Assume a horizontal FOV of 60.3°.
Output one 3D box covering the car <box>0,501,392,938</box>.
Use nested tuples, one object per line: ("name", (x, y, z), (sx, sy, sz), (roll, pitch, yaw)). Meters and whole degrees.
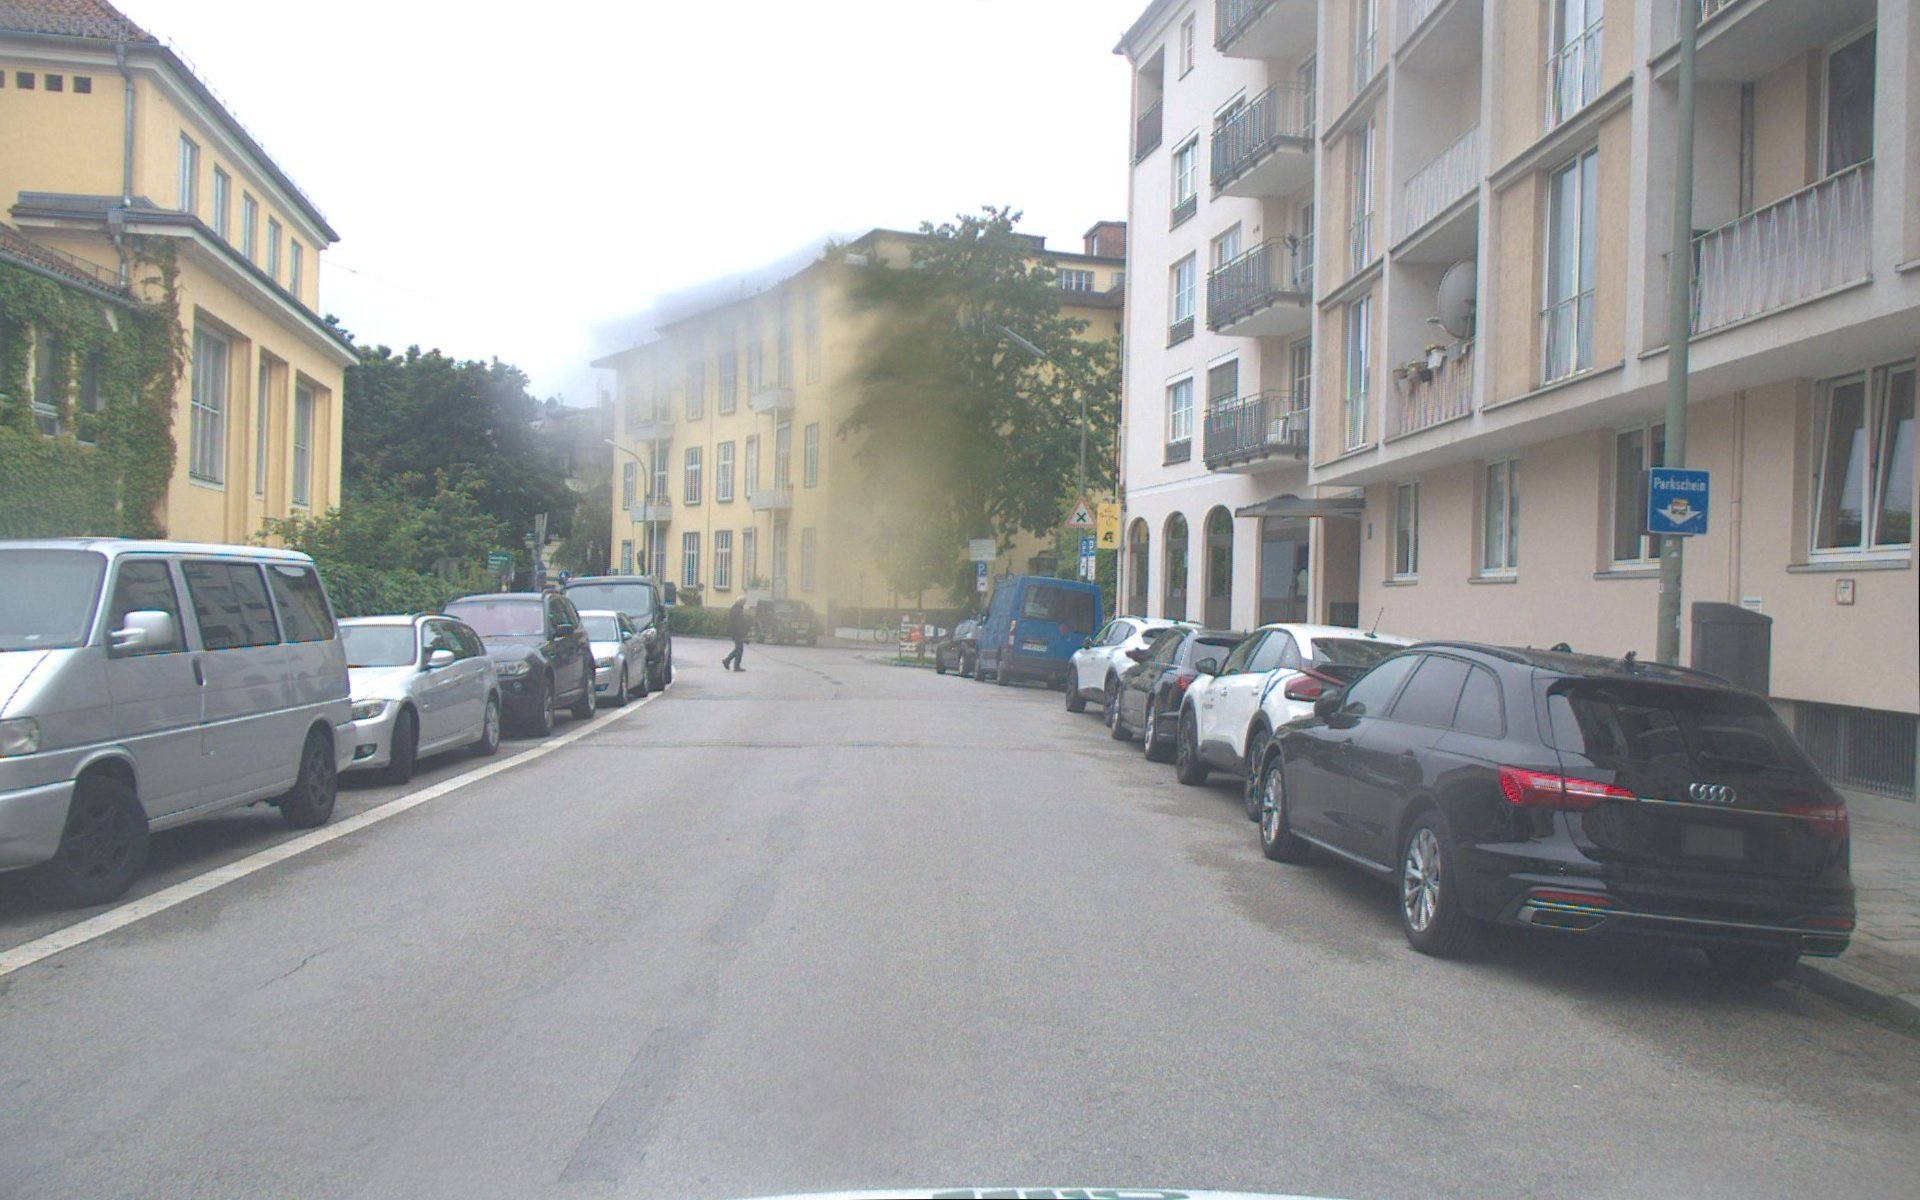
("car", (-5.067, 0.554, 9.671), (1.849, 1.922, 4.773), (-1, 0, -1))

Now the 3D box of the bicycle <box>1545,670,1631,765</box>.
("bicycle", (6.784, 1.249, 17.917), (0.370, 0.921, 1.391), (2, 0, -1))

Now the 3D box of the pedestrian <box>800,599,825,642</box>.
("pedestrian", (-6.468, 0.910, 72.647), (0.862, 1.855, 0.793), (2, 0, -22))

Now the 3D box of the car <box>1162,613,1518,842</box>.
("car", (3.016, 0.937, 14.170), (1.661, 1.515, 4.576), (3, 0, -4))

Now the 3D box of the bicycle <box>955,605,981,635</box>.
("bicycle", (0.320, 0.807, 67.023), (0.658, 1.179, 1.998), (2, -1, -11))

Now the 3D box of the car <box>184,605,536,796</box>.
("car", (-5.363, 0.799, 15.493), (1.620, 1.439, 4.769), (-2, 0, -1))

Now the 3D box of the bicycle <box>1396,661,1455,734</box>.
("bicycle", (6.379, 1.322, 22.693), (0.370, 0.921, 1.391), (2, 0, -1))

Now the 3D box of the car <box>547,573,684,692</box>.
("car", (-6.302, 0.558, 30.778), (2.034, 1.998, 5.341), (-1, 0, -7))

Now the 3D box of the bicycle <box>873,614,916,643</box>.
("bicycle", (-2.908, 1.244, 73.522), (1.889, 1.222, 0.593), (2, 0, 35))

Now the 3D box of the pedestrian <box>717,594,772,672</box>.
("pedestrian", (-5.163, 0.786, 39.665), (0.918, 1.832, 0.951), (-1, -2, 41))

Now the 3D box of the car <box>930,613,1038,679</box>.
("car", (0.557, 1.146, 42.283), (1.649, 1.413, 4.290), (5, -1, -14))

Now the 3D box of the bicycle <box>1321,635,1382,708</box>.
("bicycle", (6.595, 1.190, 27.933), (0.446, 1.130, 1.852), (2, 0, -4))

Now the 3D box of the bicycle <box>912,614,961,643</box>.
("bicycle", (-1.015, 1.250, 72.406), (2.023, 1.222, 0.596), (2, 0, 12))

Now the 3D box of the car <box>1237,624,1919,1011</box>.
("car", (2.991, 0.932, 9.226), (1.711, 1.412, 4.950), (3, 0, -4))

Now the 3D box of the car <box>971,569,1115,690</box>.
("car", (1.708, 0.683, 36.175), (2.040, 2.272, 5.234), (5, -3, -8))

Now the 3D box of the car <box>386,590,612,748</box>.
("car", (-5.488, 0.748, 20.249), (1.663, 1.671, 4.487), (-1, 0, -3))

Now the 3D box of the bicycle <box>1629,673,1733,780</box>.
("bicycle", (7.022, 1.213, 16.153), (0.370, 0.921, 1.391), (2, 0, -1))

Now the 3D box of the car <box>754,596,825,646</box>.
("car", (-7.511, 0.908, 72.398), (1.739, 1.907, 4.347), (6, -1, -23))

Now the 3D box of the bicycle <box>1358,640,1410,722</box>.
("bicycle", (6.282, 1.184, 24.542), (0.370, 1.139, 1.391), (2, 0, -1))

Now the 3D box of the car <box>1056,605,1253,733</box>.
("car", (2.750, 0.940, 24.522), (1.752, 1.560, 4.641), (4, 0, -7))

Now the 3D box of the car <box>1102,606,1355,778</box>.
("car", (2.924, 0.936, 19.202), (1.842, 1.548, 5.161), (5, 0, -2))

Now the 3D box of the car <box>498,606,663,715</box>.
("car", (-5.746, 0.862, 25.547), (1.661, 1.417, 4.498), (-3, 0, -3))
